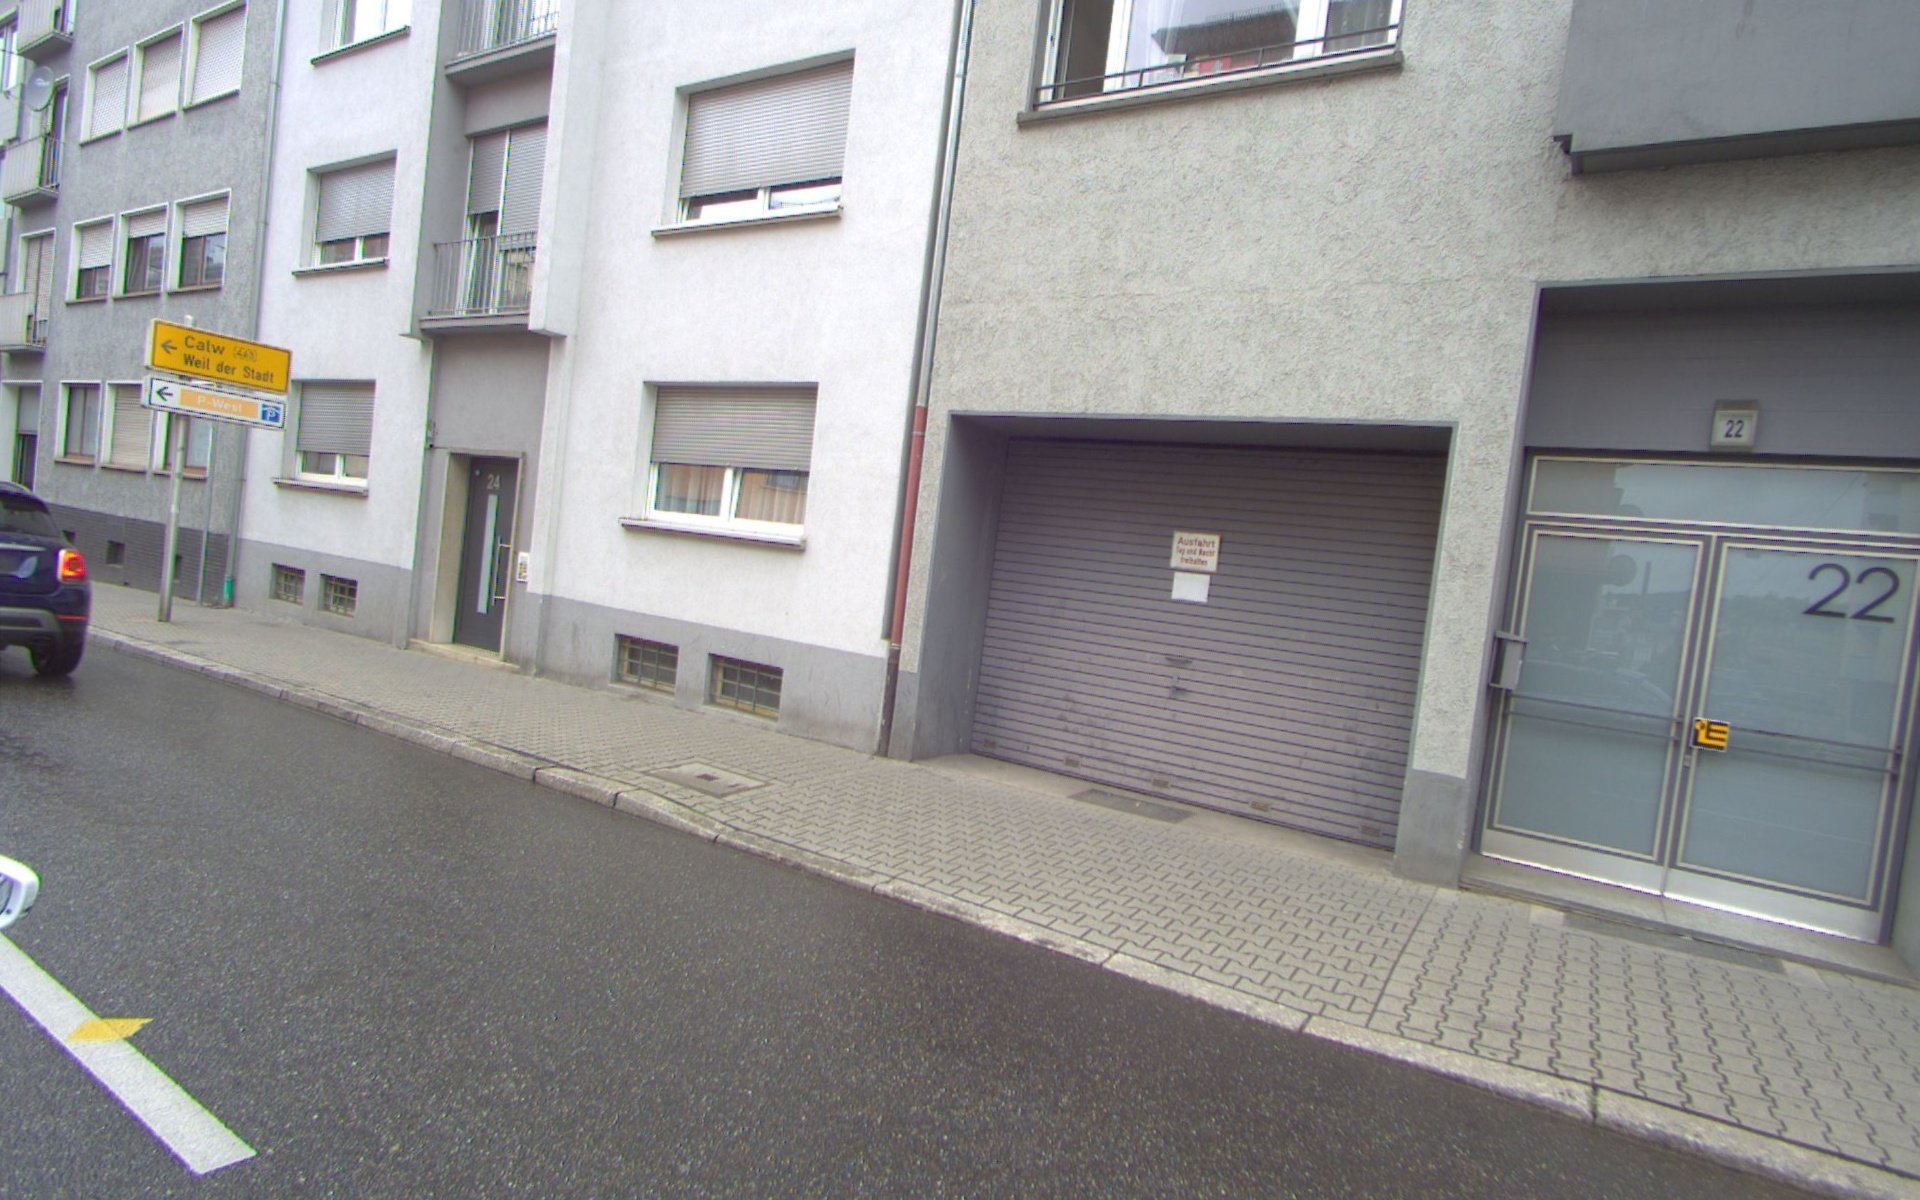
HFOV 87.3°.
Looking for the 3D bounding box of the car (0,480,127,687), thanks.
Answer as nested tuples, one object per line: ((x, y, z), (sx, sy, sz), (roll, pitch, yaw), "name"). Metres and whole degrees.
((-9.155, -0.326, 8.681), (3.934, 1.600, 1.769), (7, 0, 32), "car")
